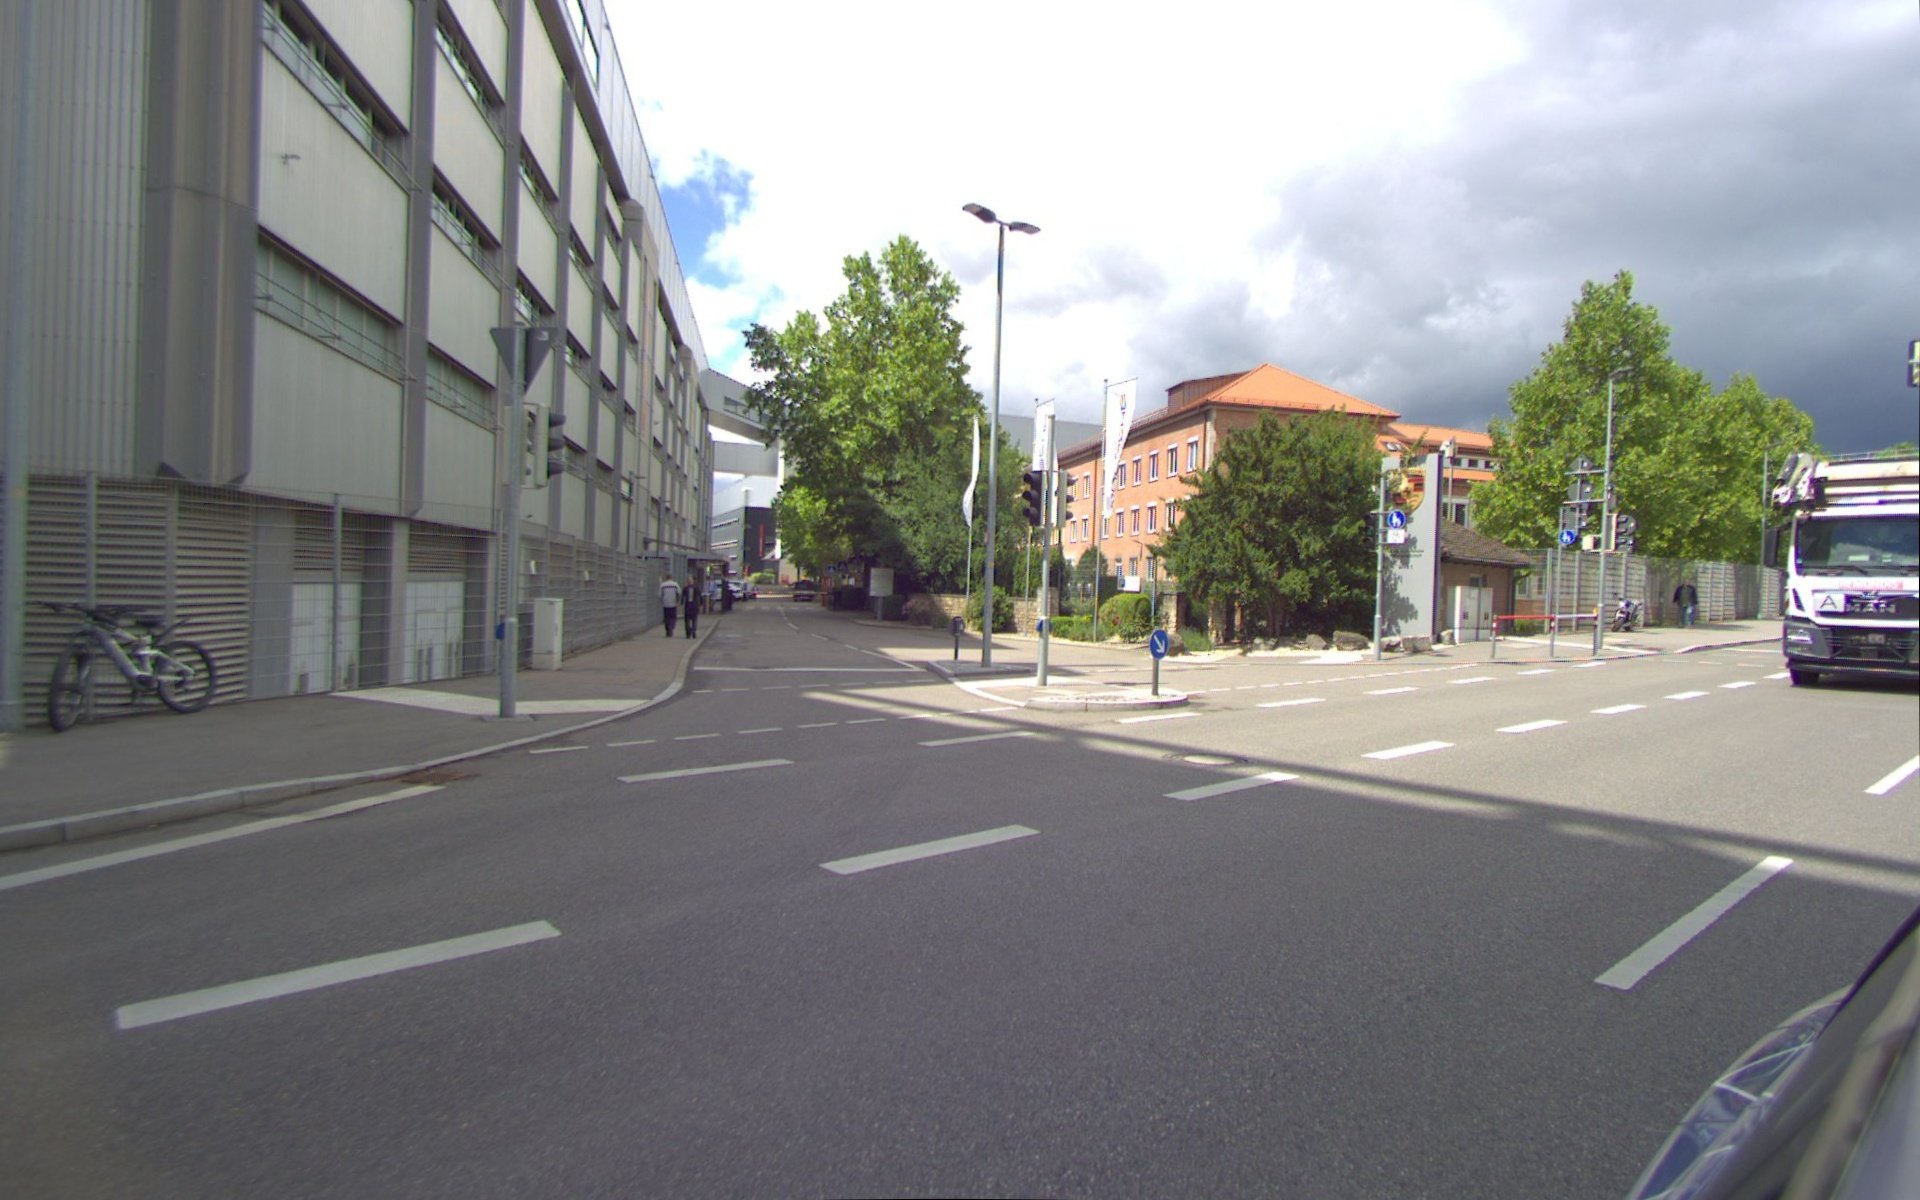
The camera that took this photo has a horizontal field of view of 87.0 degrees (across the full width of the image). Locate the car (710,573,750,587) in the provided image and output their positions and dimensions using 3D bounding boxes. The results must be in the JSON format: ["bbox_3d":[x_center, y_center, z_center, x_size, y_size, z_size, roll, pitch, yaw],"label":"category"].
[{"bbox_3d":[-26.584,-2.324,116.992,4.486,1.556,2.004,0,1,-10],"label":"car"}]

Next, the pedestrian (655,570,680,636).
[{"bbox_3d":[-8.139,0.072,28.176,0.624,1.802,0.747,0,0,-12],"label":"pedestrian"}]

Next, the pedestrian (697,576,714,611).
[{"bbox_3d":[-12.512,-0.334,49.761,0.739,1.714,0.747,0,0,-18],"label":"pedestrian"}]

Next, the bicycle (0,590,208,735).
[{"bbox_3d":[-7.729,0.502,9.181,0.535,1.142,1.889,2,1,-6],"label":"bicycle"}]

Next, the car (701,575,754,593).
[{"bbox_3d":[-20.634,-1.433,89.847,4.486,1.556,2.004,0,1,-10],"label":"car"}]

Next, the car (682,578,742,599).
[{"bbox_3d":[-19.539,-0.919,79.869,4.486,1.556,2.004,0,1,-10],"label":"car"}]

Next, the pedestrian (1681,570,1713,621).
[{"bbox_3d":[26.482,-0.178,36.344,0.998,1.788,0.728,0,0,-41],"label":"pedestrian"}]

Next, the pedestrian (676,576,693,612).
[{"bbox_3d":[-13.073,-0.297,48.084,0.739,1.714,0.747,0,0,-18],"label":"pedestrian"}]

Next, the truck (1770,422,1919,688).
[{"bbox_3d":[17.916,-0.731,18.732,10.553,3.934,2.711,-1,1,-41],"label":"truck"}]

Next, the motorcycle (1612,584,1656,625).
[{"bbox_3d":[21.538,0.121,32.308,2.137,1.241,0.570,-1,3,-40],"label":"motorcycle"}]

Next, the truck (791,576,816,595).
[{"bbox_3d":[-17.936,-1.666,115.958,2.464,2.039,4.420,0,1,-3],"label":"truck"}]

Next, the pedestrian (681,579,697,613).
[{"bbox_3d":[-13.476,-0.201,50.260,0.739,1.714,0.747,0,0,-18],"label":"pedestrian"}]

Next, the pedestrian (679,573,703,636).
[{"bbox_3d":[-7.524,0.125,28.331,0.605,1.744,0.747,0,0,-12],"label":"pedestrian"}]
